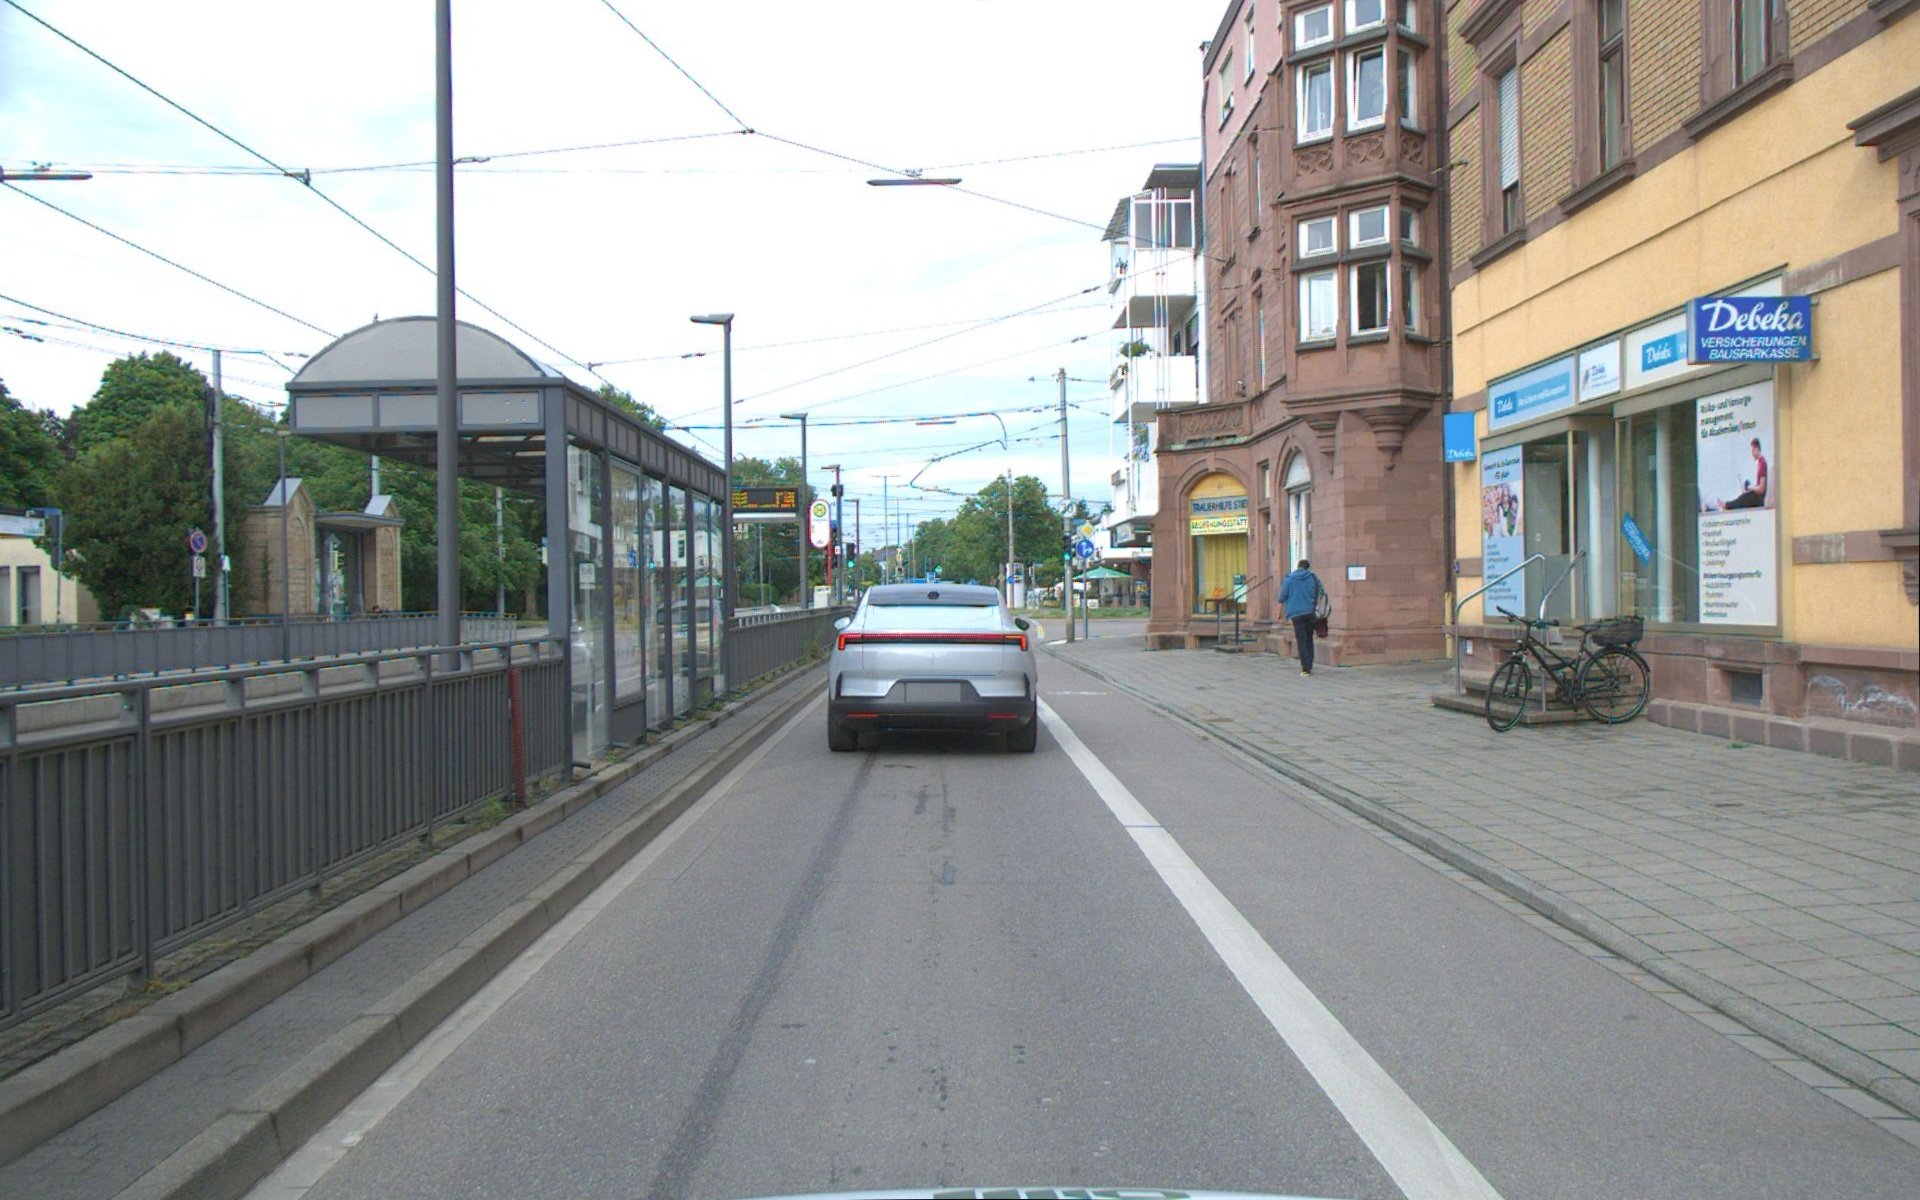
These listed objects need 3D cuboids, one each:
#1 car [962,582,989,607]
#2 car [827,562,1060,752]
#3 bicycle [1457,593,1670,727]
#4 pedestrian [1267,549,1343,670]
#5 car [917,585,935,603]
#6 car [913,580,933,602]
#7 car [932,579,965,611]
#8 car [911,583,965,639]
[{"bbox_3d":[1.632,-0.541,175.057,2.750,2.549,5.721,0,0,-1],"label":"car"},{"bbox_3d":[-0.294,0.507,16.144,1.960,1.608,3.995,0,-1,-5],"label":"car"},{"bbox_3d":[5.728,0.558,15.751,1.742,1.149,0.642,-3,0,-2],"label":"bicycle"},{"bbox_3d":[5.606,0.148,26.915,0.941,1.882,0.975,-3,1,-1],"label":"pedestrian"},{"bbox_3d":[-3.759,-0.664,184.138,1.953,2.049,3.999,-1,0,-1],"label":"car"},{"bbox_3d":[-3.604,-0.897,162.410,1.953,2.049,3.999,-1,0,-1],"label":"car"},{"bbox_3d":[-0.911,-0.377,128.444,2.182,2.444,5.118,0,0,-4],"label":"car"},{"bbox_3d":[-0.696,0.345,52.508,1.647,1.717,3.823,0,0,-1],"label":"car"}]
